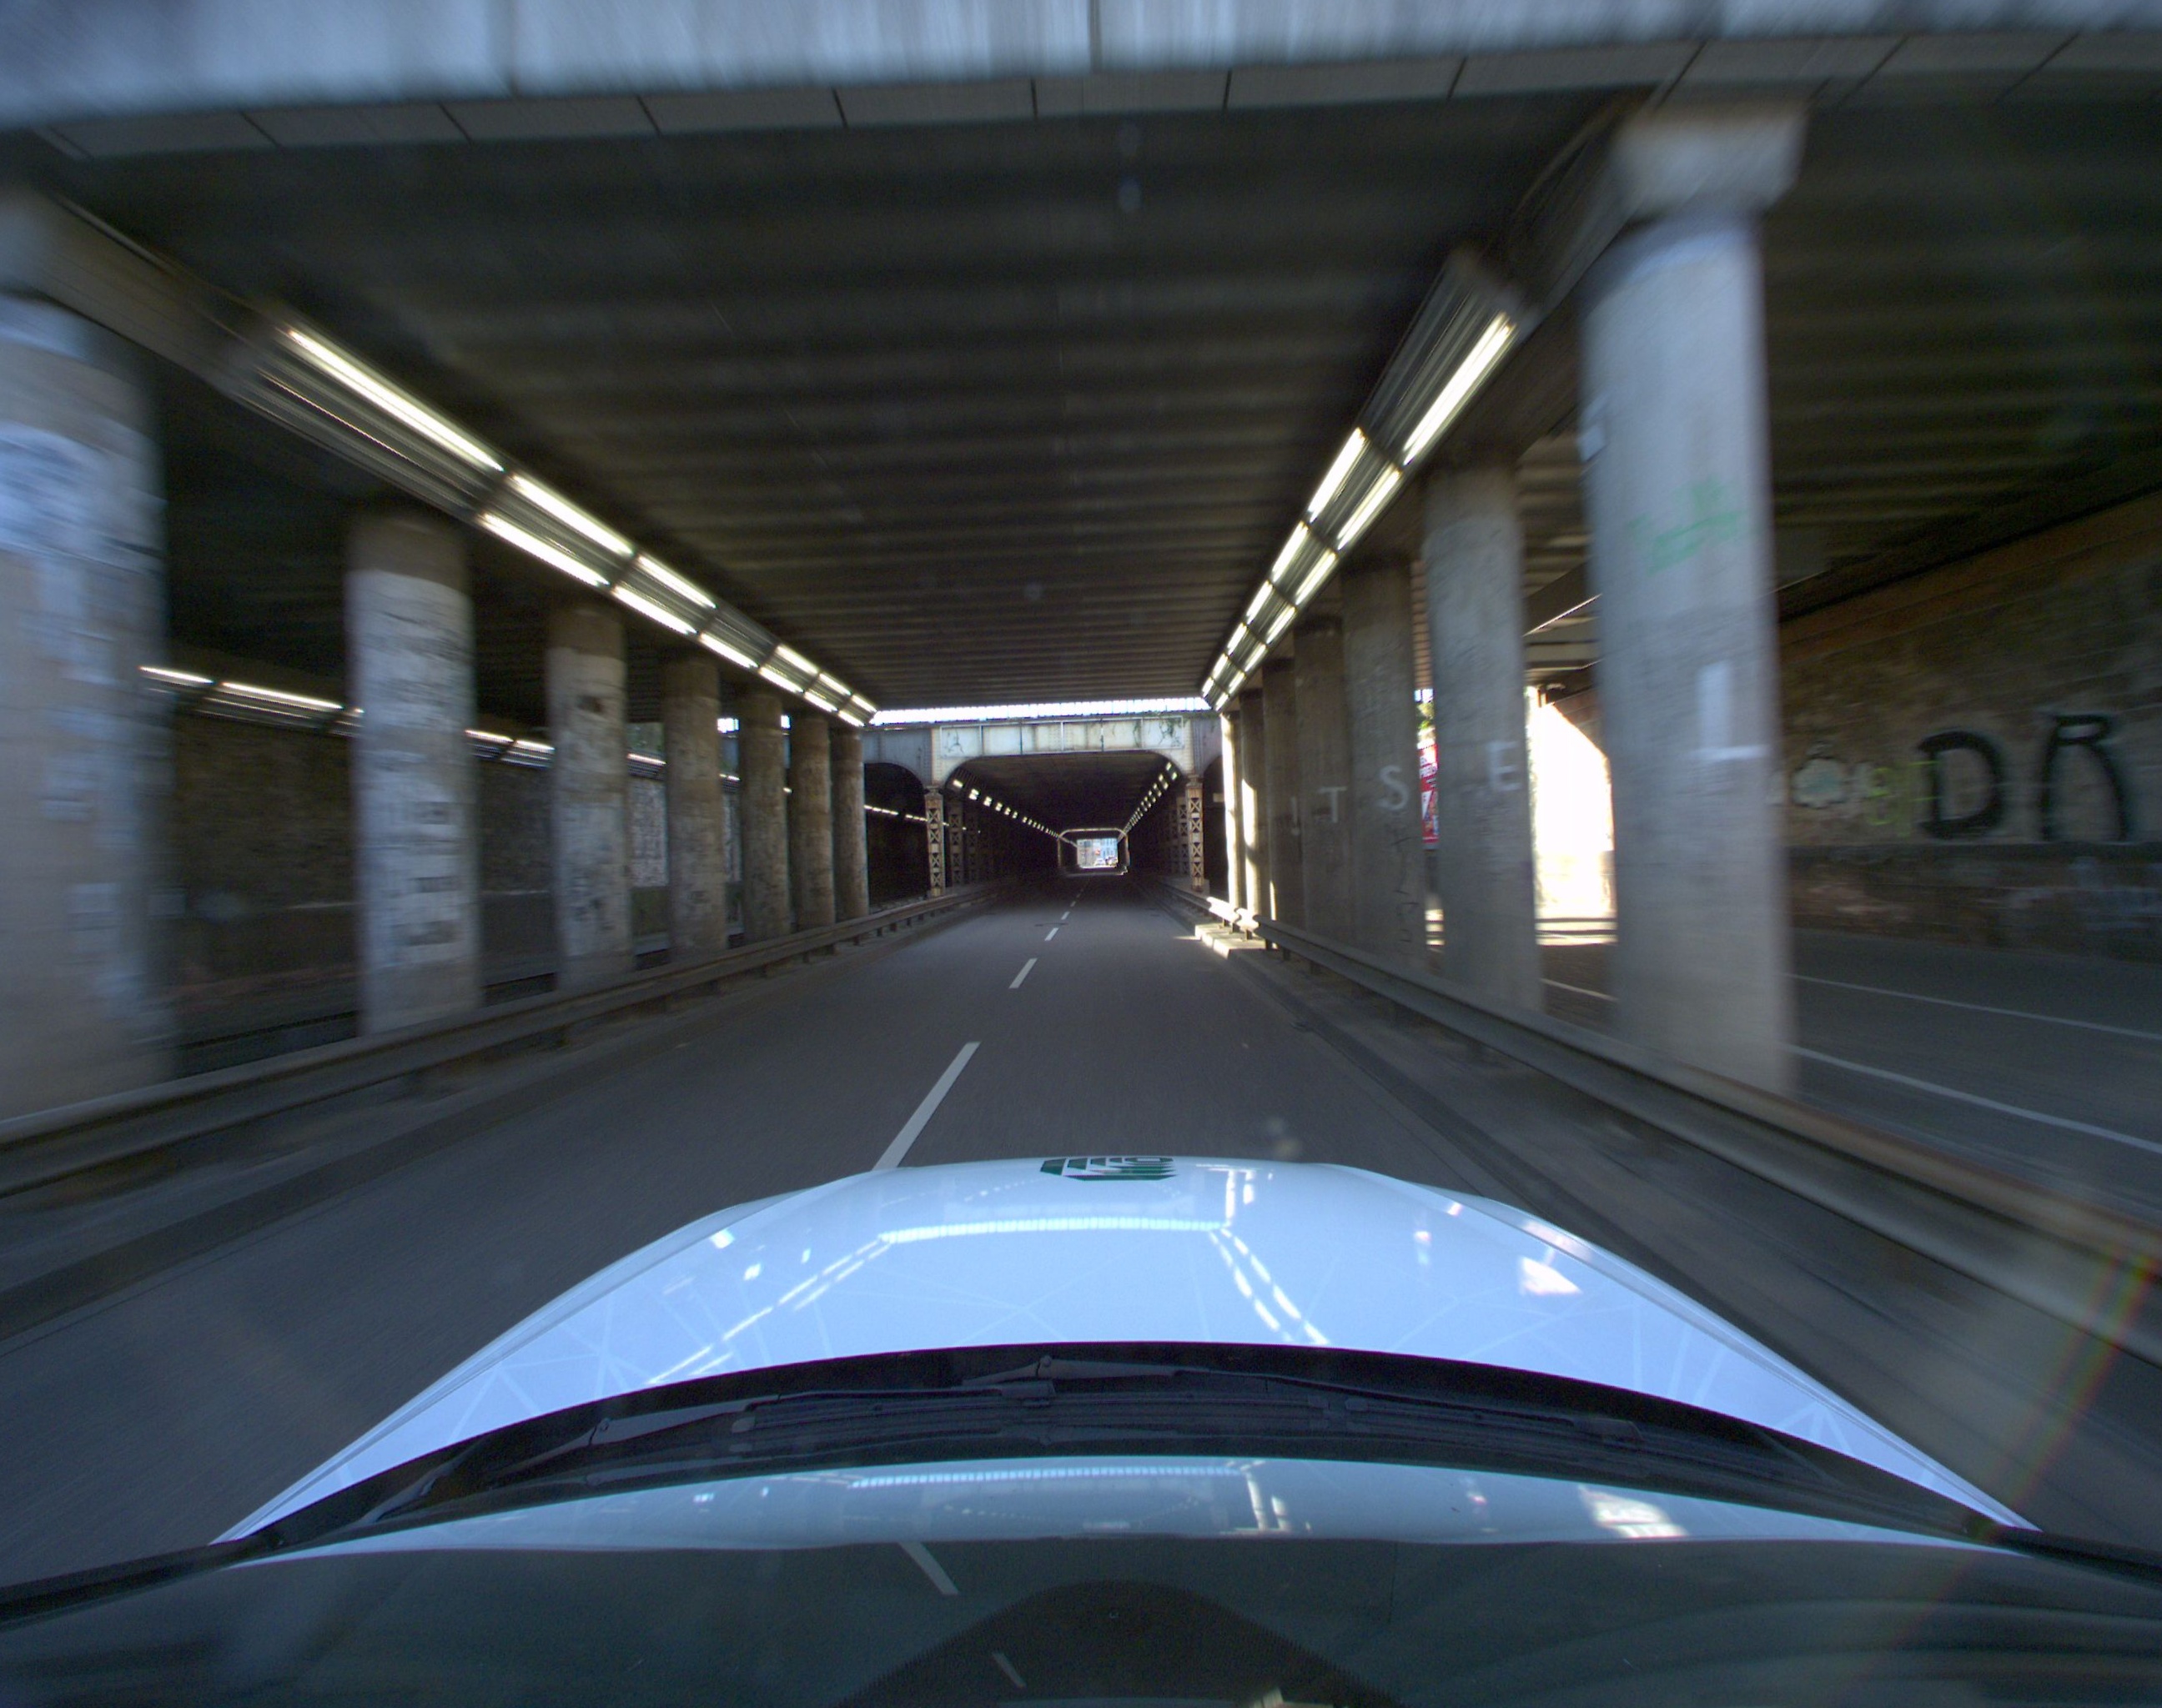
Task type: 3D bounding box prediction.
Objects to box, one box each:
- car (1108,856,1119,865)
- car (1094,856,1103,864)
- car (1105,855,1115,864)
[{"bbox_3d":[6.433,1.296,162.535,1.986,1.784,4.001,-3,0,1],"label":"car"},{"bbox_3d":[3.875,1.281,178.487,1.986,1.784,4.001,-3,0,1],"label":"car"},{"bbox_3d":[6.190,1.113,171.819,1.986,1.784,4.001,-3,0,1],"label":"car"}]
